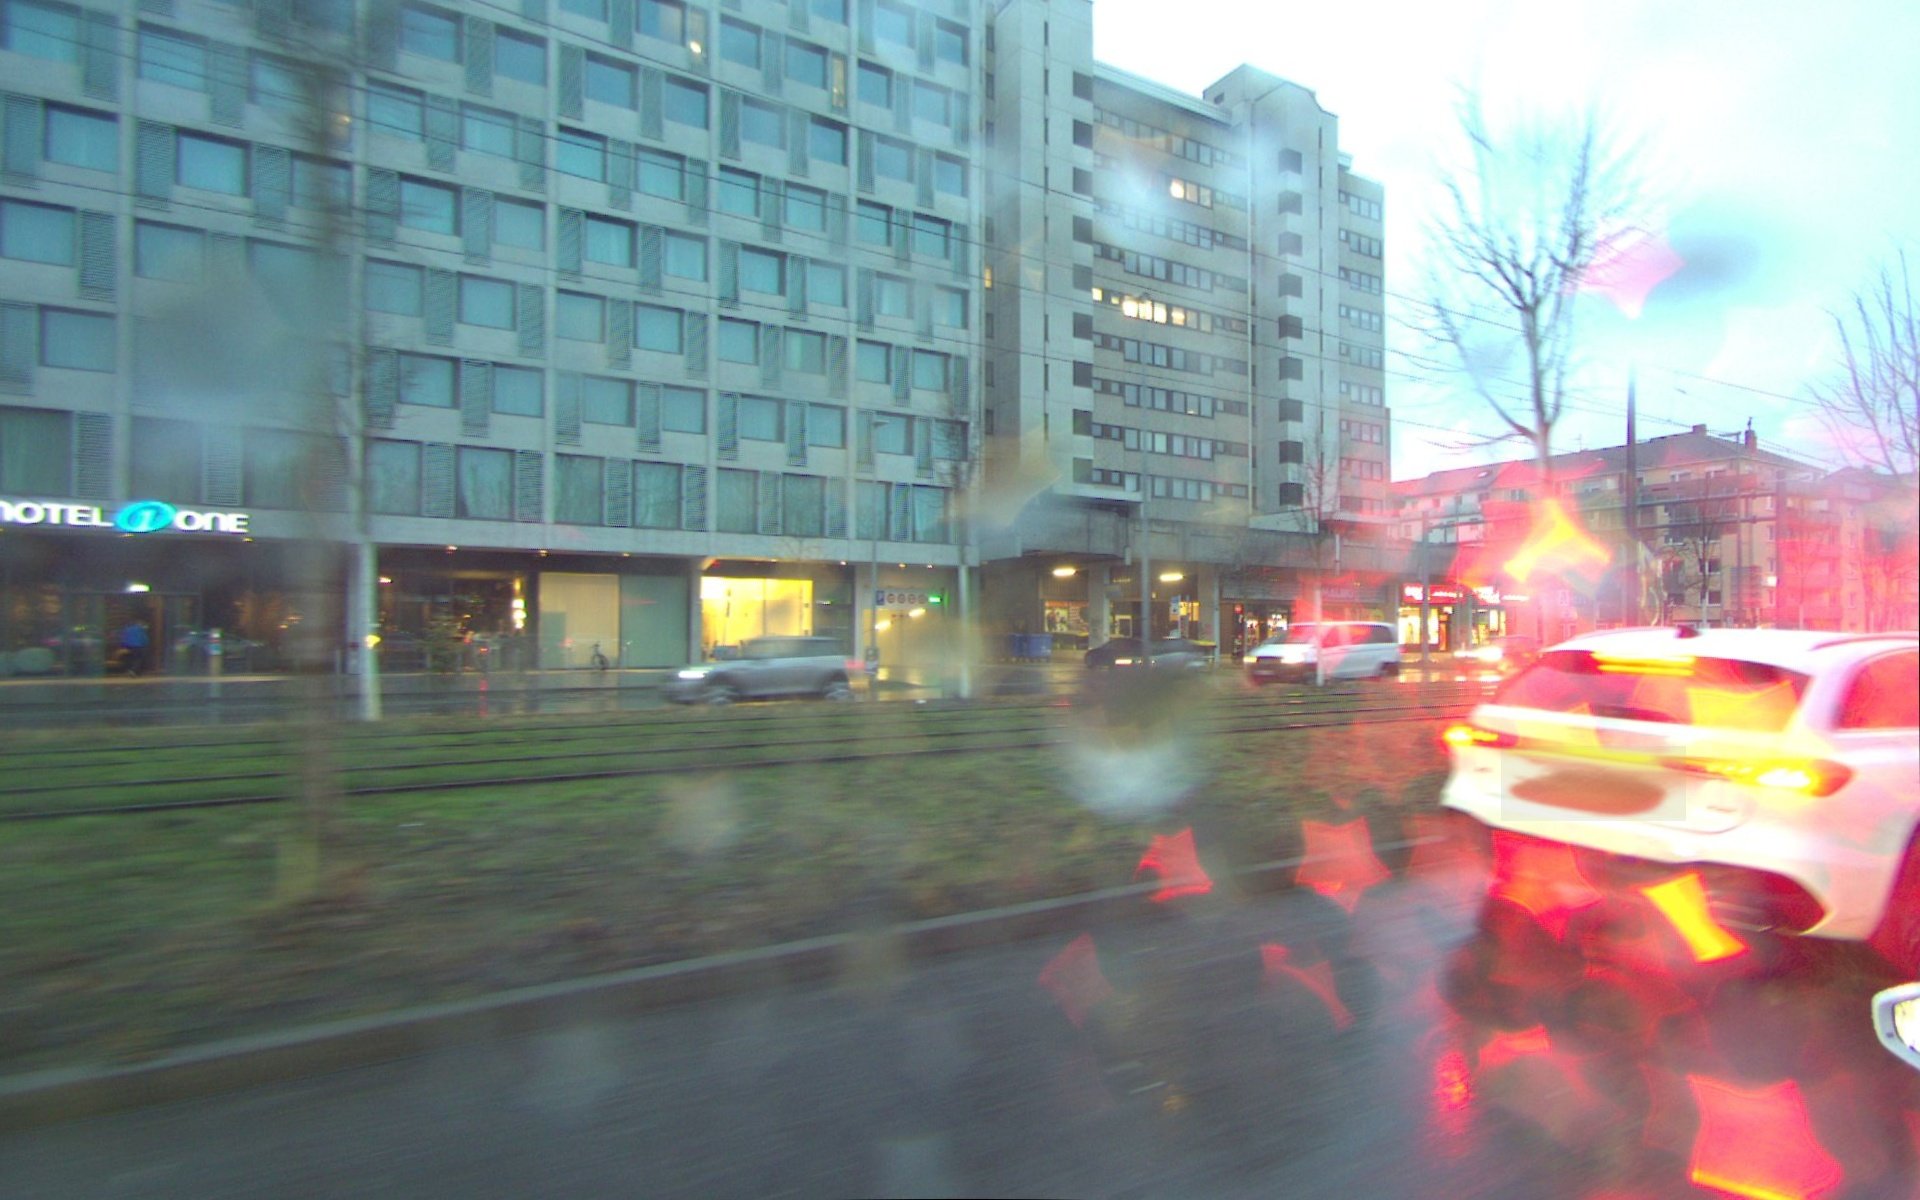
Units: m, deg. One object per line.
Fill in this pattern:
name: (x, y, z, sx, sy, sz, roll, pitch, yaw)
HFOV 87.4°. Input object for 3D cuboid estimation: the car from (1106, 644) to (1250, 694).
car: (7.349, 2.257, 33.677, 4.736, 1.536, 1.887, 1, -2, -31)

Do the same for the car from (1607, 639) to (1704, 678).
car: (32.832, 2.720, 47.364, 4.858, 1.741, 1.887, 1, -2, -30)

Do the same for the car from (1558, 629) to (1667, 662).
car: (38.967, 2.690, 60.080, 5.059, 1.937, 2.001, 0, -2, 15)

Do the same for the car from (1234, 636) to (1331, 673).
car: (14.643, 2.447, 45.614, 3.924, 1.405, 1.935, 2, 0, 25)

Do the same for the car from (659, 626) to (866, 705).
car: (-3.948, 1.255, 20.151, 3.664, 1.450, 1.886, 1, -2, -31)

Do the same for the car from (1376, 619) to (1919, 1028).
car: (4.568, 0.867, 5.533, 4.560, 1.424, 1.837, 2, -1, -30)

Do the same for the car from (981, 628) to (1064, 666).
car: (2.871, 2.169, 47.207, 1.709, 1.718, 4.336, 1, -2, -32)

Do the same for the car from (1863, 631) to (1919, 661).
car: (63.699, 3.115, 68.701, 5.116, 1.937, 1.979, 2, -2, -37)

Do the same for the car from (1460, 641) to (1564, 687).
car: (23.652, 2.689, 42.992, 4.477, 1.837, 1.887, 1, -2, -31)

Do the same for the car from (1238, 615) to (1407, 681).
car: (10.339, 1.338, 28.527, 5.063, 1.741, 1.885, 1, -2, -33)

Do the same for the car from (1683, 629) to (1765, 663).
car: (41.594, 2.474, 54.663, 4.858, 1.741, 1.887, 1, -2, -30)
